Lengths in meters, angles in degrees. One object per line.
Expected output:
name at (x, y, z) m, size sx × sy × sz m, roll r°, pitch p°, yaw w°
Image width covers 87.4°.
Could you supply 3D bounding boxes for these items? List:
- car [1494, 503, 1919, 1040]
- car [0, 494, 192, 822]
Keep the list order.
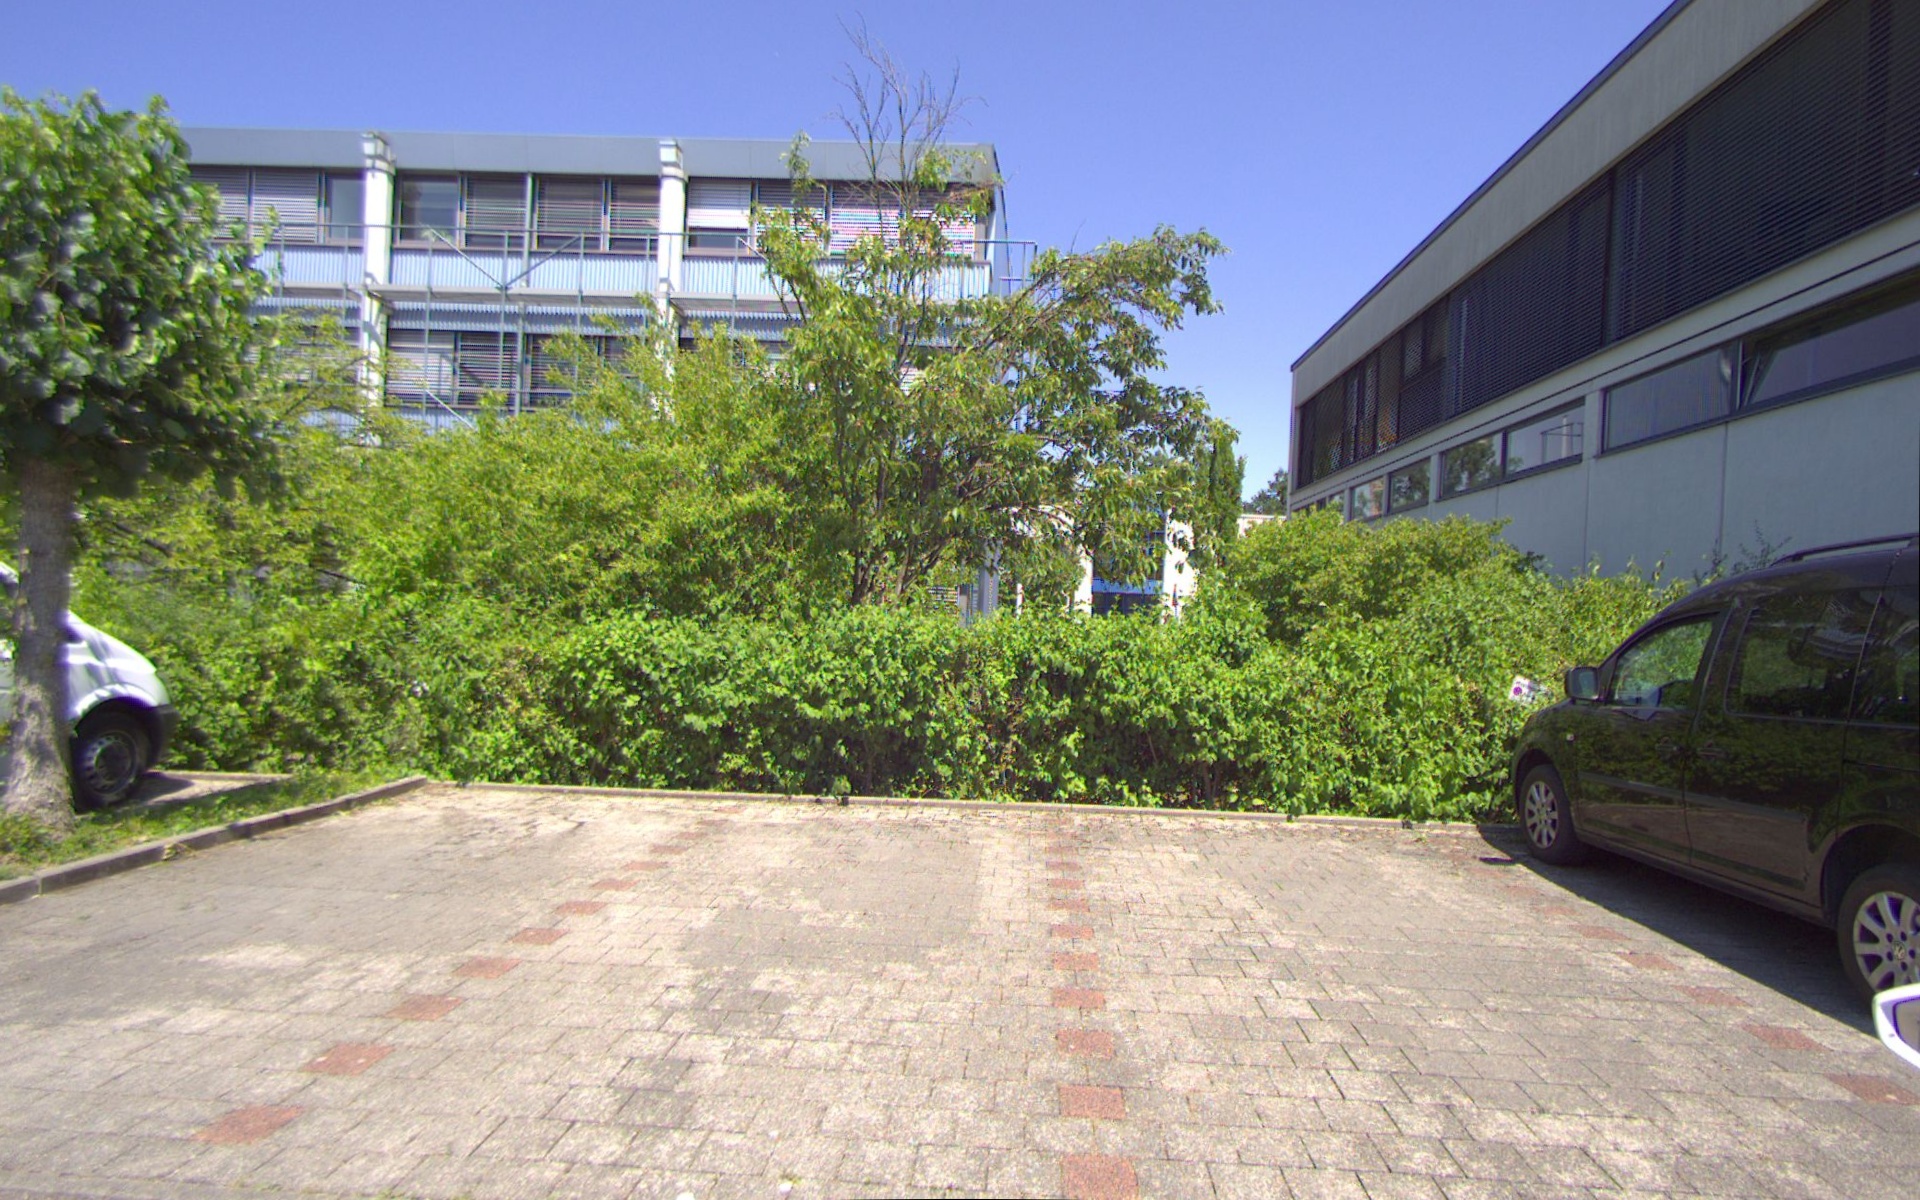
car at (4.362, 0.641, 4.842) m, size 1.645 × 1.909 × 4.073 m, roll 2°, pitch 0°, yaw 5°
car at (-6.577, 0.310, 4.914) m, size 1.793 × 1.931 × 4.737 m, roll 2°, pitch 0°, yaw 3°
